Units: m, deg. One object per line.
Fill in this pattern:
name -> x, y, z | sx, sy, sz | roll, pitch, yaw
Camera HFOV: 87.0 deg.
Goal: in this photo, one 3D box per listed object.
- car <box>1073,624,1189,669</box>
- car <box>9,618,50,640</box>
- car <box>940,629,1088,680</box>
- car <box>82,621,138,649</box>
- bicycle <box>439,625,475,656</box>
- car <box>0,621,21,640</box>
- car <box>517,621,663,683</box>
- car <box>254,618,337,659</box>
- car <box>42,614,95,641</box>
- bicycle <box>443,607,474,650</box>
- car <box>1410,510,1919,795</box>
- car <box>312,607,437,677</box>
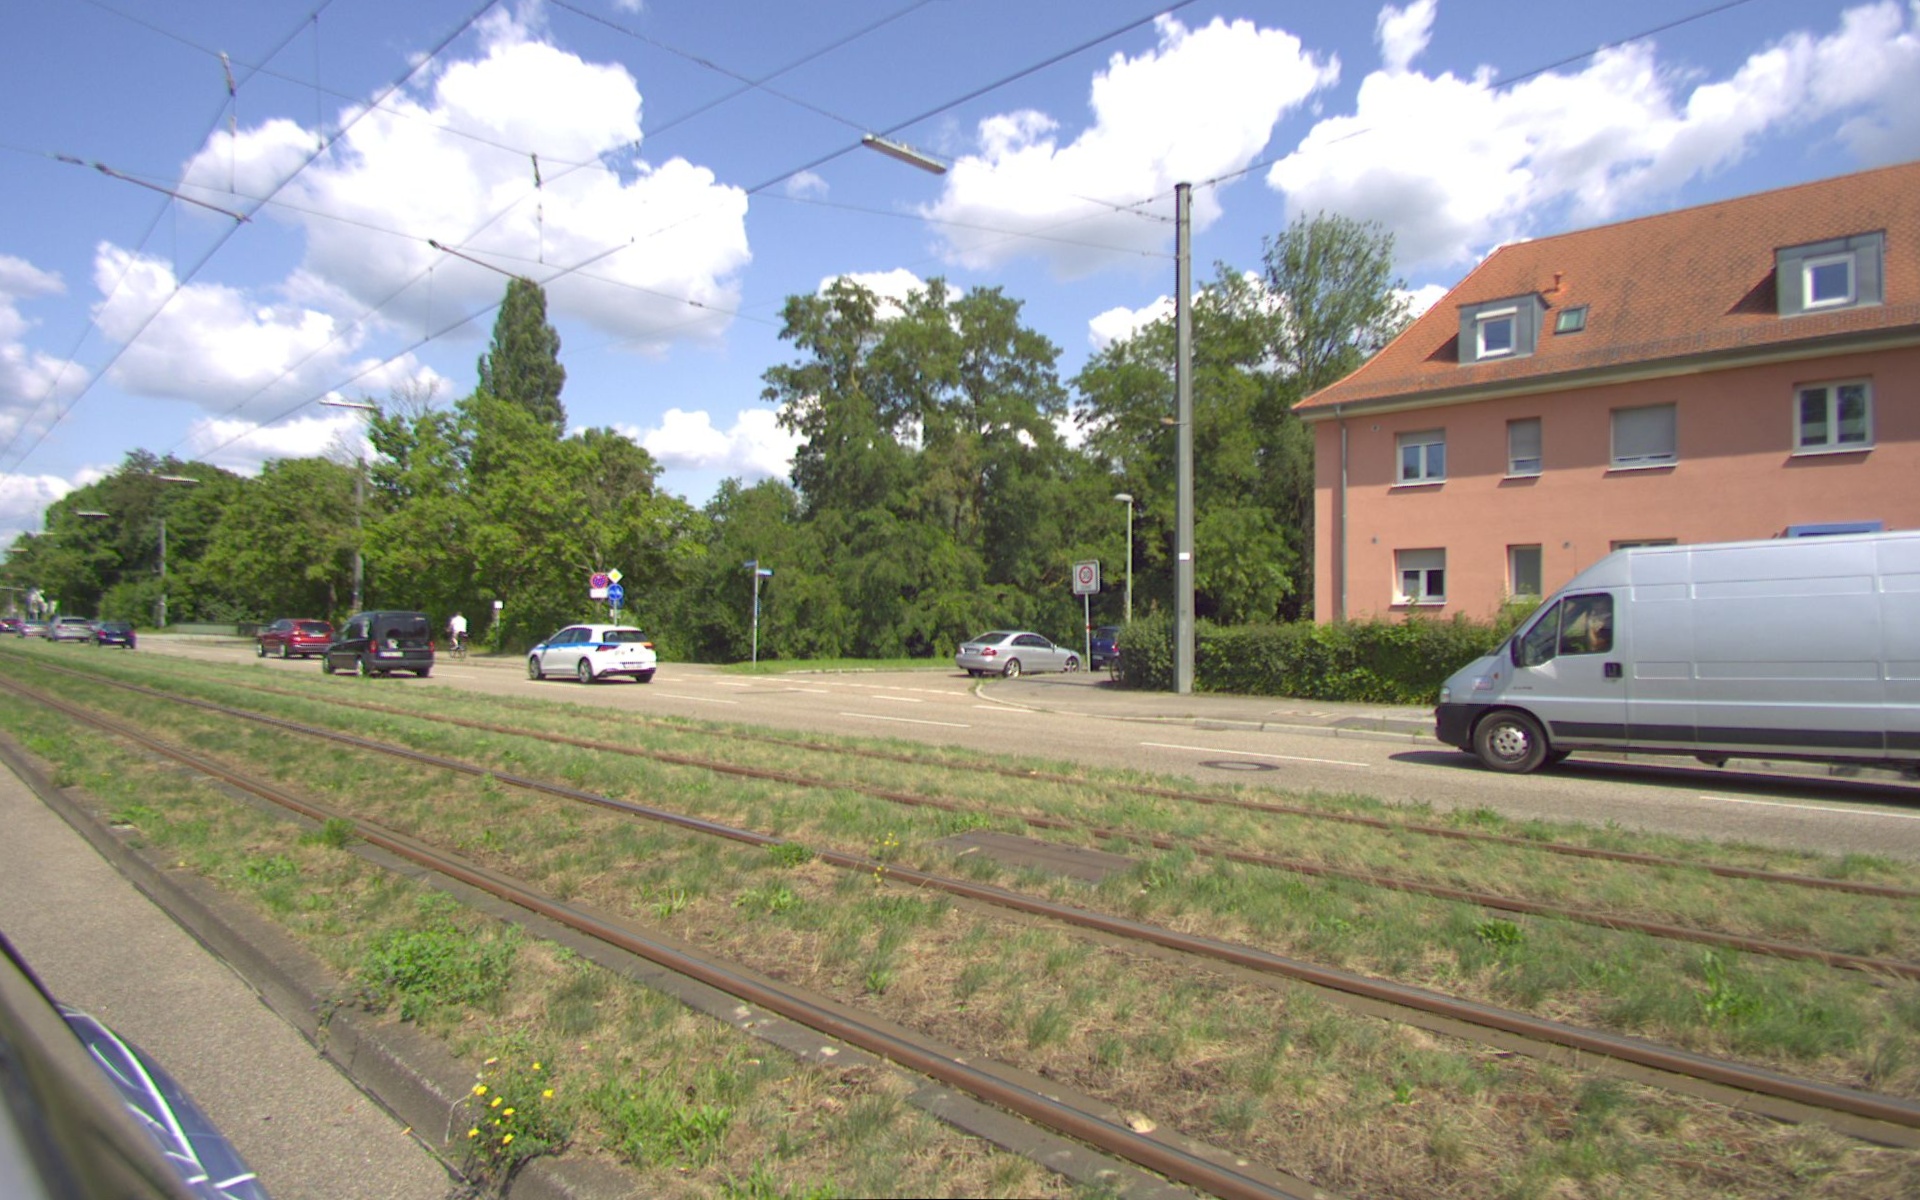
car -> 5.805, 1.538, 34.235 | 3.581, 1.416, 1.854 | 1, -2, -34
car -> -71.403, 2.203, 77.640 | 4.276, 1.664, 1.896 | -1, -2, 43
car -> 1.695, 1.611, 30.958 | 4.403, 1.416, 2.003 | 1, -2, -41
car -> -44.536, 1.833, 52.984 | 4.276, 1.405, 1.708 | -1, -2, 43
bicycle -> -20.203, 1.621, 40.654 | 1.956, 1.197, 0.634 | -1, -2, 43
car -> -85.614, 2.710, 90.507 | 4.276, 1.664, 2.093 | -1, -2, 42
car -> -9.496, 1.270, 25.814 | 4.275, 1.442, 1.668 | -1, -2, 41
car -> -27.140, 1.524, 41.296 | 4.273, 1.591, 1.709 | -1, -2, 40
car -> -56.700, 1.744, 64.356 | 4.276, 1.664, 2.093 | -1, -2, 42
bicycle -> -20.118, 1.156, 40.605 | 0.952, 1.697, 0.790 | -1, -2, 41
car -> 7.922, 0.514, 10.331 | 5.773, 2.455, 2.011 | -1, -3, 40
car -> -15.874, 1.095, 27.365 | 4.226, 1.760, 1.668 | -1, -2, 41
